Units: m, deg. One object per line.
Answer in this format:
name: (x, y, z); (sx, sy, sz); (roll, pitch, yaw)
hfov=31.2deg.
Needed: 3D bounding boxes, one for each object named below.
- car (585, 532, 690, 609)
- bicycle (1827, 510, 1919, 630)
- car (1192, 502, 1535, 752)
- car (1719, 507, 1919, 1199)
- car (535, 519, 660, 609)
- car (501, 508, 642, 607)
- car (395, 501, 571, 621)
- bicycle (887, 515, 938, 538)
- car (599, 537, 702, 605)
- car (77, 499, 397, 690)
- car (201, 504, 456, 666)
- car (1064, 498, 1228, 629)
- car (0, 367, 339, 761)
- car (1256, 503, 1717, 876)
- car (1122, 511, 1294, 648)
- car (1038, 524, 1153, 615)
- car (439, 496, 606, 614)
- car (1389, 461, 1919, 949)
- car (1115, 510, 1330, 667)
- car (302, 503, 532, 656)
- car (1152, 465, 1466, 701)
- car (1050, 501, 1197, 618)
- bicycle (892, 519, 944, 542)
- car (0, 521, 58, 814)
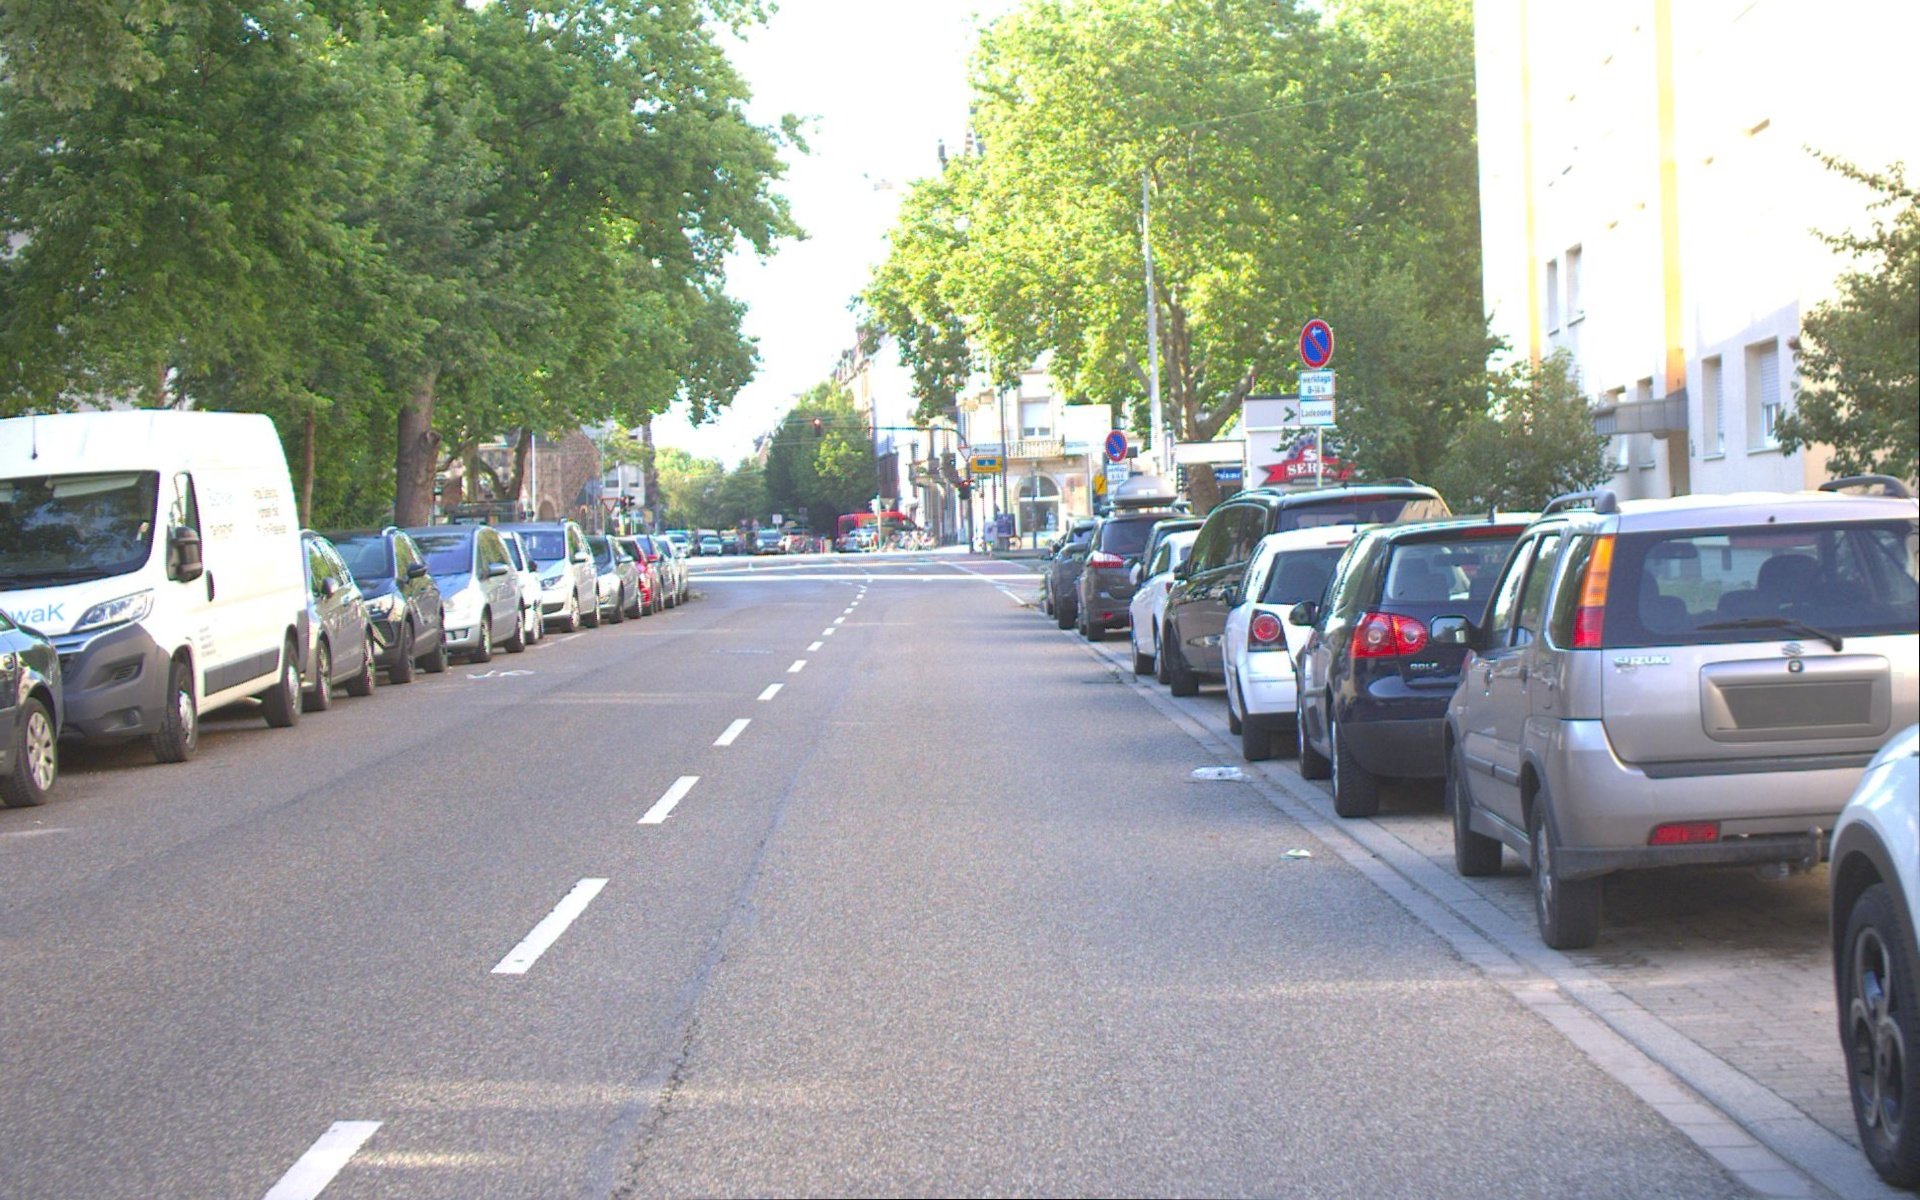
car: (-6.317, -0.565, 67.643); (1.703, 1.435, 4.129); (1, 0, -1)
bicycle: (9.068, -0.309, 33.509); (0.600, 1.078, 2.393); (-1, 2, 0)
car: (2.601, 0.159, 23.059); (1.837, 1.496, 4.172); (1, 0, 1)
car: (2.849, 0.495, 6.218); (1.873, 1.437, 4.000); (-3, 0, -2)
car: (-6.555, -0.638, 62.469); (1.870, 1.553, 4.000); (1, 0, -1)
car: (-6.437, -0.683, 57.405); (1.870, 1.553, 4.497); (1, 0, -1)
car: (-6.520, -0.524, 47.339); (1.870, 1.553, 4.101); (1, 0, -1)
bicycle: (-2.660, -4.080, 191.454); (2.802, 1.199, 0.517); (1, 0, -5)
car: (-6.473, -0.598, 72.349); (1.769, 1.348, 4.711); (1, 0, -1)
car: (-6.333, -0.052, 30.594); (1.957, 1.553, 4.346); (1, 0, -1)
car: (-6.506, -0.153, 35.840); (1.870, 1.553, 4.366); (1, 0, -1)
car: (2.450, -0.515, 46.169); (1.897, 1.645, 4.343); (-1, 1, -1)
car: (-6.190, -0.216, 24.553); (2.358, 2.437, 6.165); (-1, 0, 0)
car: (2.708, 0.427, 18.538); (1.837, 1.766, 3.978); (1, 0, 0)
car: (2.810, -0.228, 39.655); (1.605, 1.489, 4.042); (0, 0, -1)
car: (2.275, -0.509, 58.724); (1.740, 1.468, 4.000); (1, 0, -1)
car: (-6.573, -0.659, 52.118); (1.916, 1.672, 4.974); (1, 0, -1)
car: (2.930, 0.338, 13.427); (1.962, 1.600, 4.279); (0, 0, 0)
car: (2.508, -0.110, 33.785); (1.679, 1.410, 4.724); (1, 0, -1)
car: (-6.383, -0.295, 40.955); (1.871, 1.553, 5.057); (-5, 2, -1)
car: (2.764, -0.134, 28.273); (2.024, 1.744, 4.767); (1, 0, -1)
car: (2.418, -0.596, 52.003); (1.927, 1.653, 4.678); (1, 0, -1)
bicycle: (-2.337, -3.822, 189.772); (2.802, 1.199, 0.510); (1, 0, -7)
car: (-6.007, 0.409, 17.574); (1.707, 1.568, 3.819); (-4, 0, 0)
